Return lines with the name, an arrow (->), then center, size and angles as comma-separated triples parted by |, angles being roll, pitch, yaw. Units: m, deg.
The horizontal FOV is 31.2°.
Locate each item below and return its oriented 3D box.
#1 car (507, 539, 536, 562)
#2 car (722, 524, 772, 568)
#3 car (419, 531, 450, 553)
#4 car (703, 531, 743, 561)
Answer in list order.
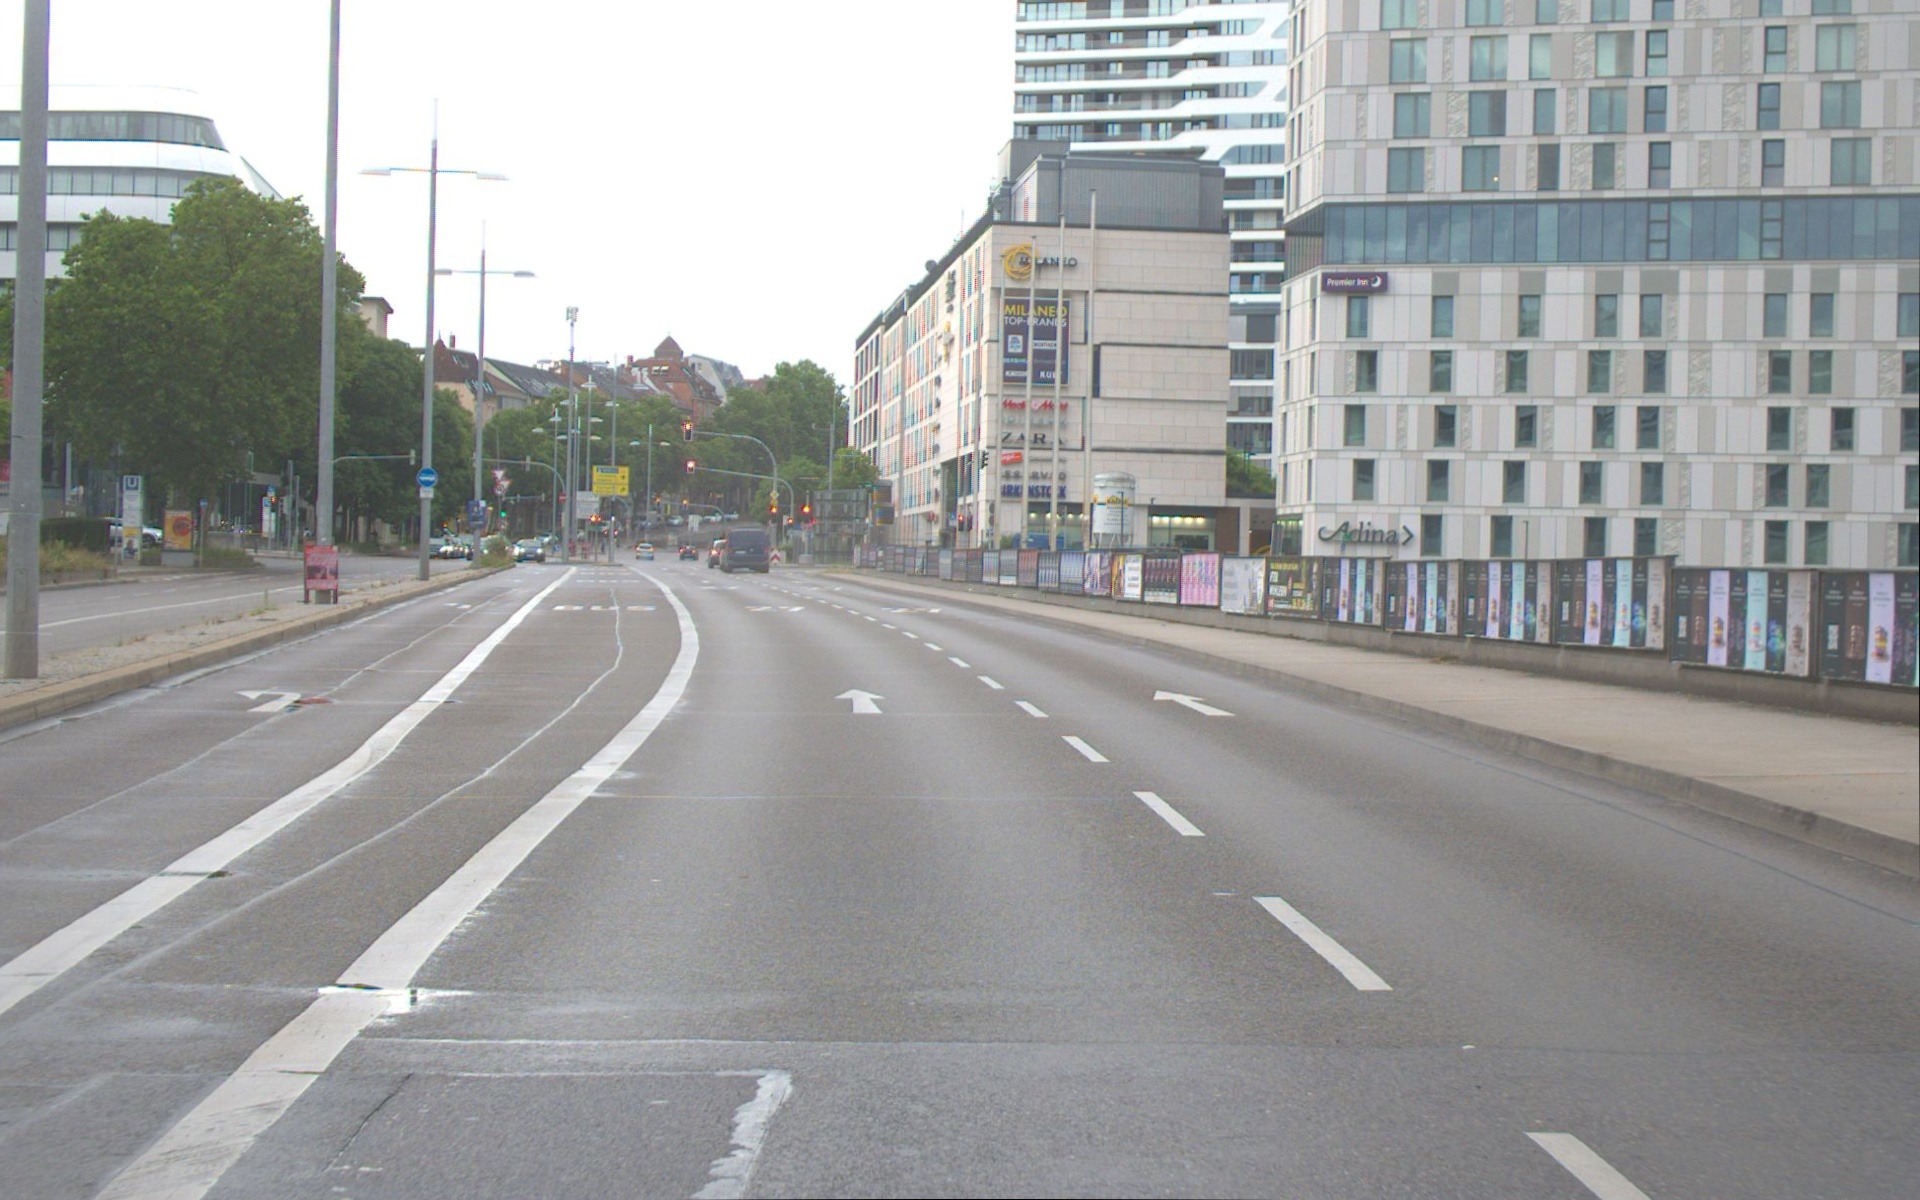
car -> -28.666, -3.225, 224.773 | 1.743, 1.439, 3.395 | 1, 0, -6
car -> -9.661, -2.457, 155.448 | 2.032, 1.875, 5.043 | -2, 2, -5
car -> -34.354, -3.774, 224.818 | 1.743, 1.324, 4.226 | 1, 0, -6
car -> -12.418, -2.830, 180.045 | 1.739, 1.526, 3.815 | 1, 0, -9
